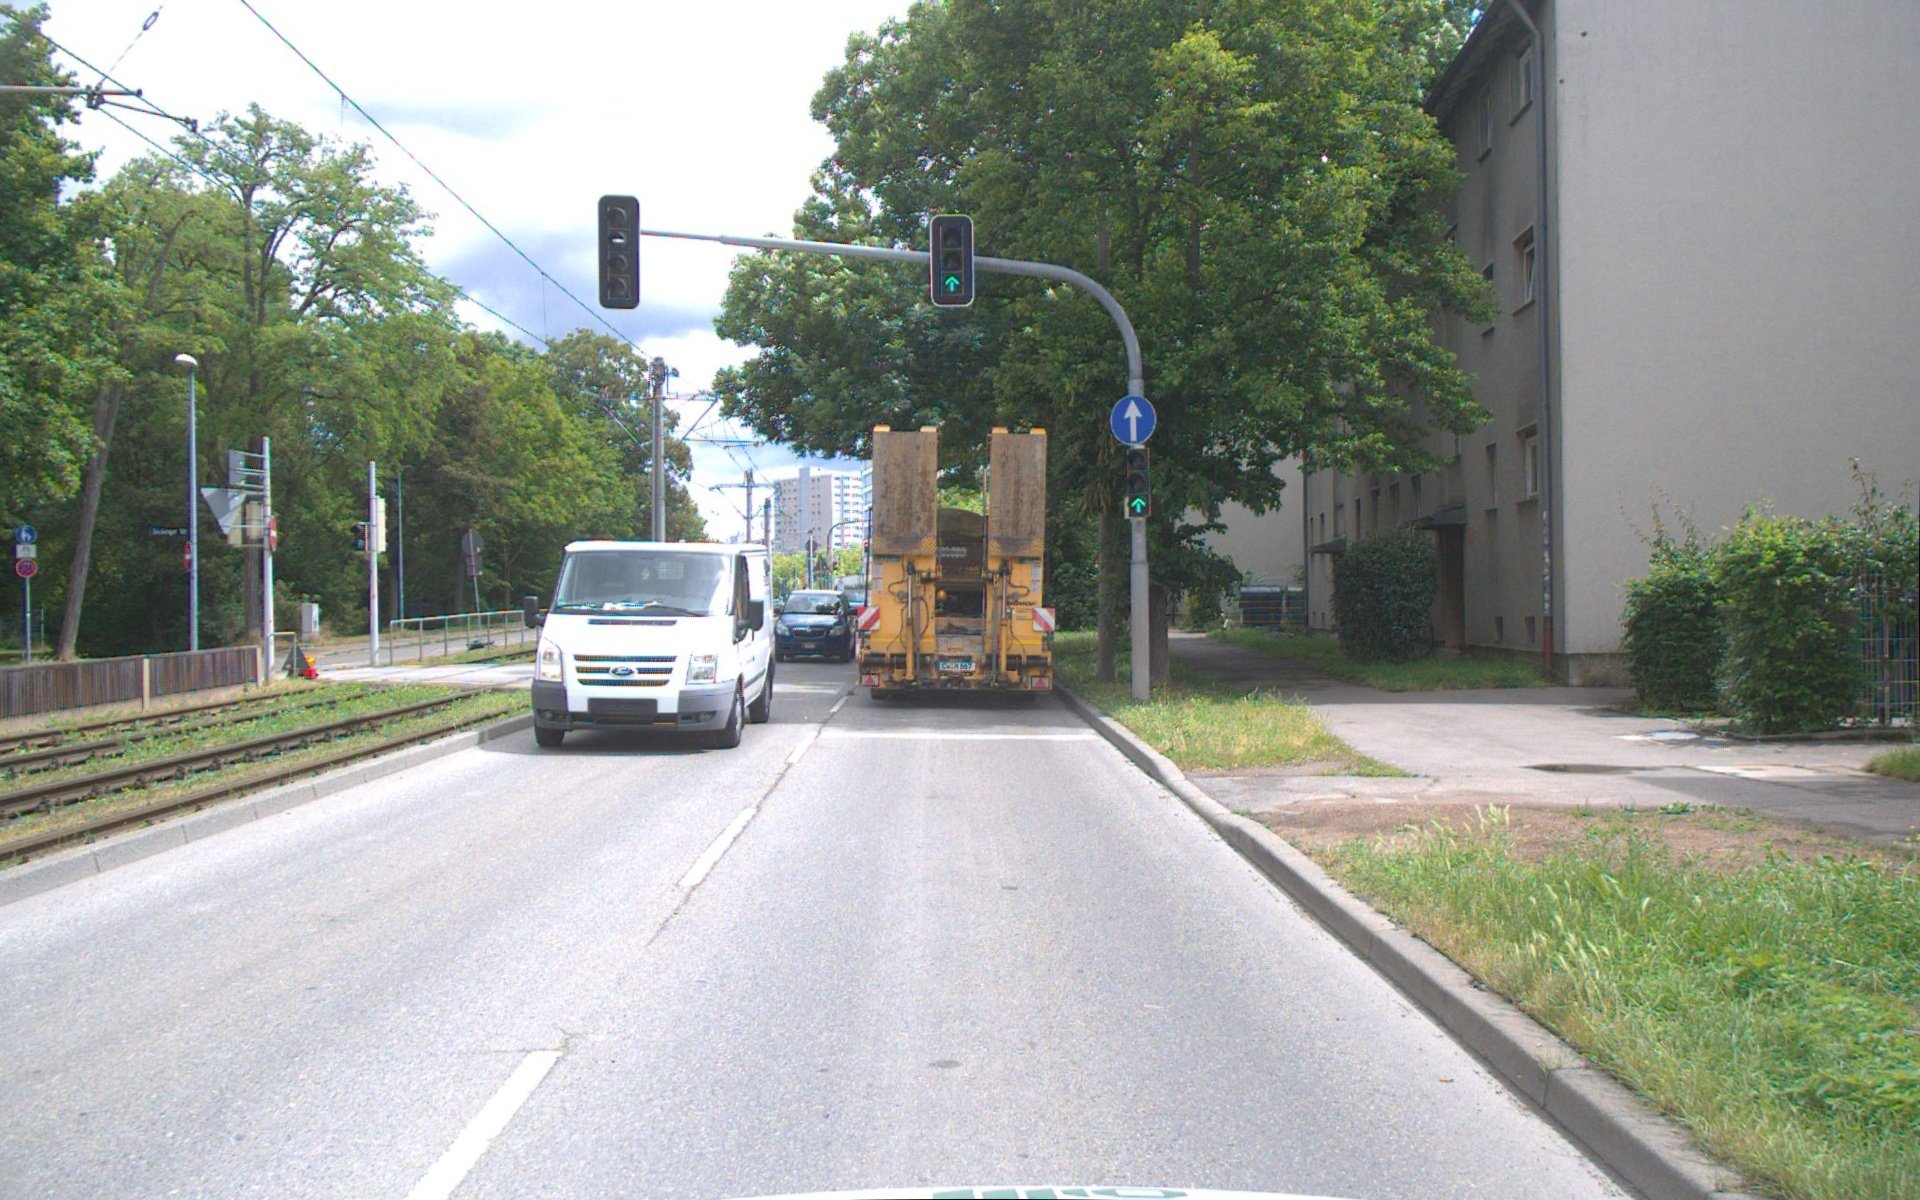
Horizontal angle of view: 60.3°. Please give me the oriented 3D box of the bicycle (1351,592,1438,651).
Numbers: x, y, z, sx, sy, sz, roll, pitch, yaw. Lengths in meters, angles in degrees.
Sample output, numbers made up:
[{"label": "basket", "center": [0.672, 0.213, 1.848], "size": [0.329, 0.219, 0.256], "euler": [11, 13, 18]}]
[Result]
[{"label": "bicycle", "center": [8.363, 0.407, 31.888], "size": [0.432, 1.099, 1.732], "euler": [1, 0, -36]}]

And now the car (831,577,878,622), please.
[{"label": "car", "center": [-3.839, -0.049, 60.556], "size": [1.604, 1.560, 3.274], "euler": [1, 1, -2]}]

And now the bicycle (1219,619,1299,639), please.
[{"label": "bicycle", "center": [8.234, 0.803, 45.589], "size": [2.157, 0.516, 0.674], "euler": [1, 0, 10]}]

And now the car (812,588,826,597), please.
[{"label": "car", "center": [-22.159, -1.192, 259.661], "size": [1.956, 1.445, 3.993], "euler": [1, 0, -7]}]

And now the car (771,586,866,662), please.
[{"label": "car", "center": [-3.009, 0.469, 35.750], "size": [1.548, 1.511, 3.807], "euler": [1, 1, 2]}]

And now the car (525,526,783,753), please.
[{"label": "car", "center": [-3.010, 0.333, 17.272], "size": [1.953, 2.031, 4.784], "euler": [0, 0, -2]}]

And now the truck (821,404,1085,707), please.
[{"label": "truck", "center": [-0.326, -0.518, 26.772], "size": [3.249, 3.715, 12.555], "euler": [1, 0, -2]}]
